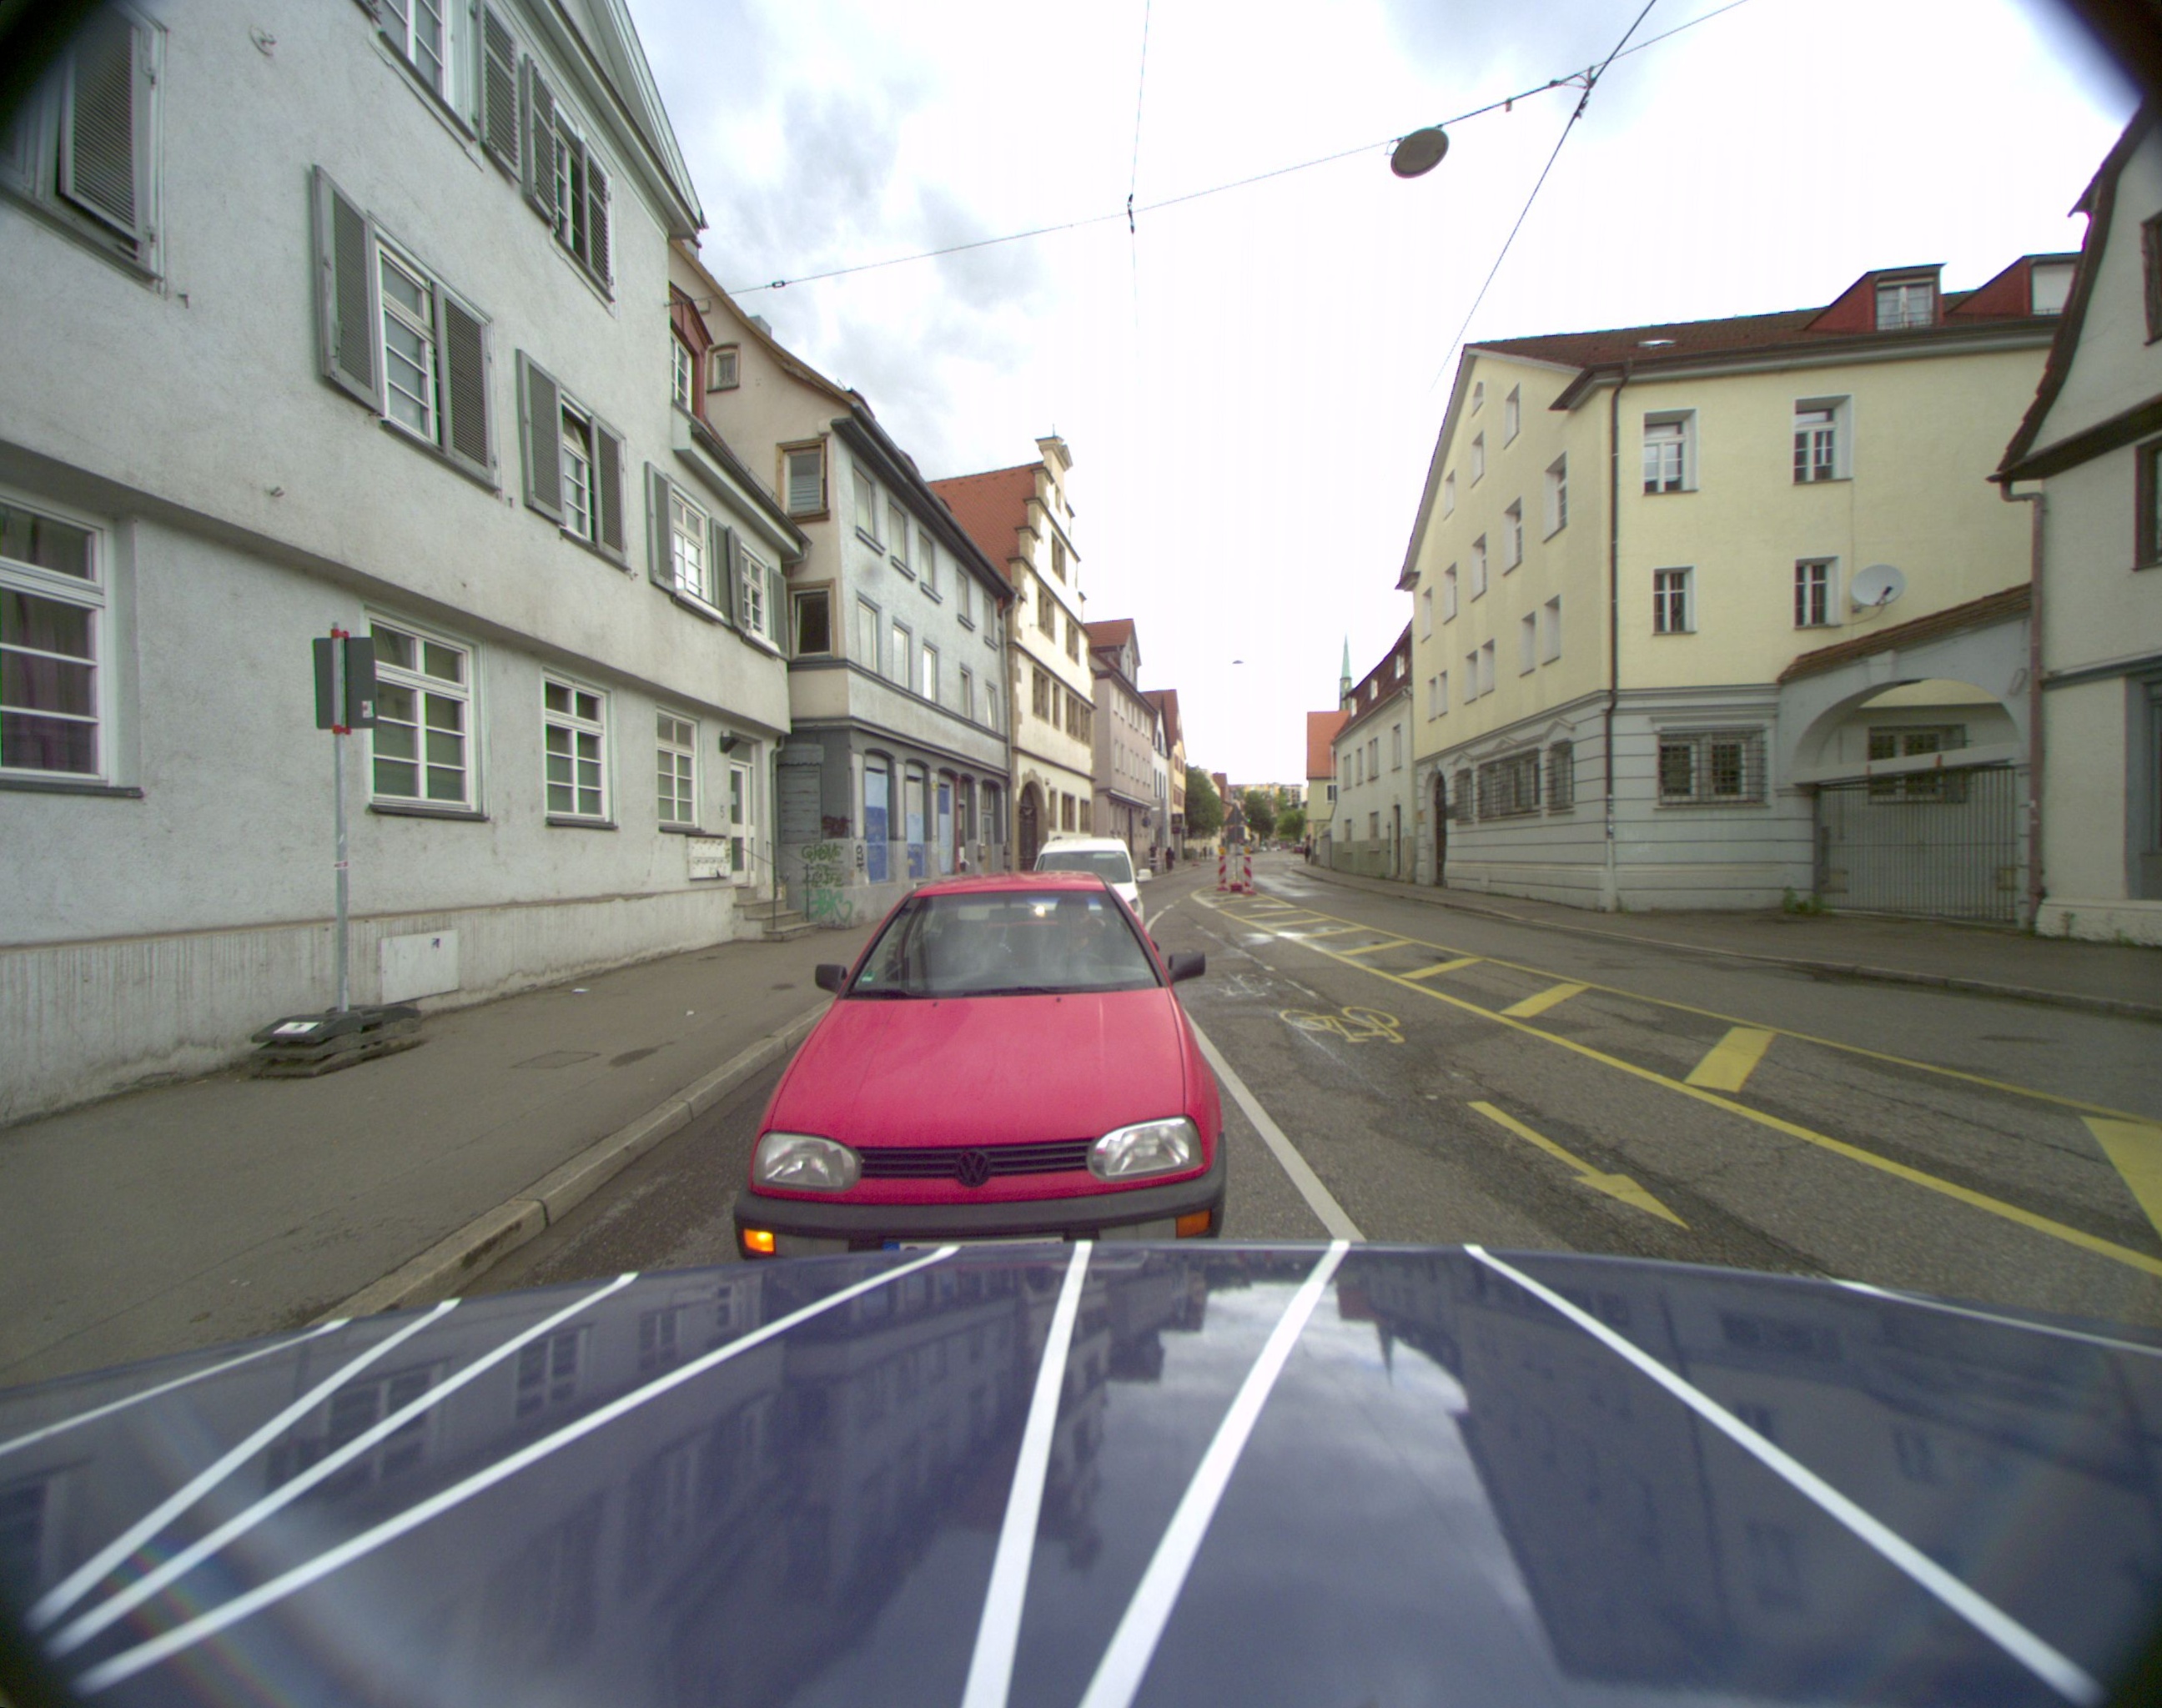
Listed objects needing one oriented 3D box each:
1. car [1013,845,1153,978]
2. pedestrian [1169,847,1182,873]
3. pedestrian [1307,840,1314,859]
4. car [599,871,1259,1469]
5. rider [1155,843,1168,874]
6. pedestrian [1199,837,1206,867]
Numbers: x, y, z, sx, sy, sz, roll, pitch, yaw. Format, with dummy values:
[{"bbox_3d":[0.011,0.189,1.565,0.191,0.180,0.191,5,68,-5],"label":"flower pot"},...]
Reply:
[{"bbox_3d":[0.130,0.736,12.151,1.814,1.695,4.256,-1,1,3],"label":"car"},{"bbox_3d":[5.831,0.349,46.893,0.725,1.604,0.649,-1,0,11],"label":"pedestrian"},{"bbox_3d":[21.371,-0.401,70.606,0.592,1.769,0.505,0,1,14],"label":"pedestrian"},{"bbox_3d":[-0.320,0.935,4.093,1.792,1.418,3.999,-1,2,3],"label":"car"},{"bbox_3d":[4.965,0.270,46.918,0.719,1.837,0.798,-3,0,5],"label":"rider"},{"bbox_3d":[10.197,-0.143,63.665,0.495,2.513,0.746,-1,1,12],"label":"pedestrian"}]
